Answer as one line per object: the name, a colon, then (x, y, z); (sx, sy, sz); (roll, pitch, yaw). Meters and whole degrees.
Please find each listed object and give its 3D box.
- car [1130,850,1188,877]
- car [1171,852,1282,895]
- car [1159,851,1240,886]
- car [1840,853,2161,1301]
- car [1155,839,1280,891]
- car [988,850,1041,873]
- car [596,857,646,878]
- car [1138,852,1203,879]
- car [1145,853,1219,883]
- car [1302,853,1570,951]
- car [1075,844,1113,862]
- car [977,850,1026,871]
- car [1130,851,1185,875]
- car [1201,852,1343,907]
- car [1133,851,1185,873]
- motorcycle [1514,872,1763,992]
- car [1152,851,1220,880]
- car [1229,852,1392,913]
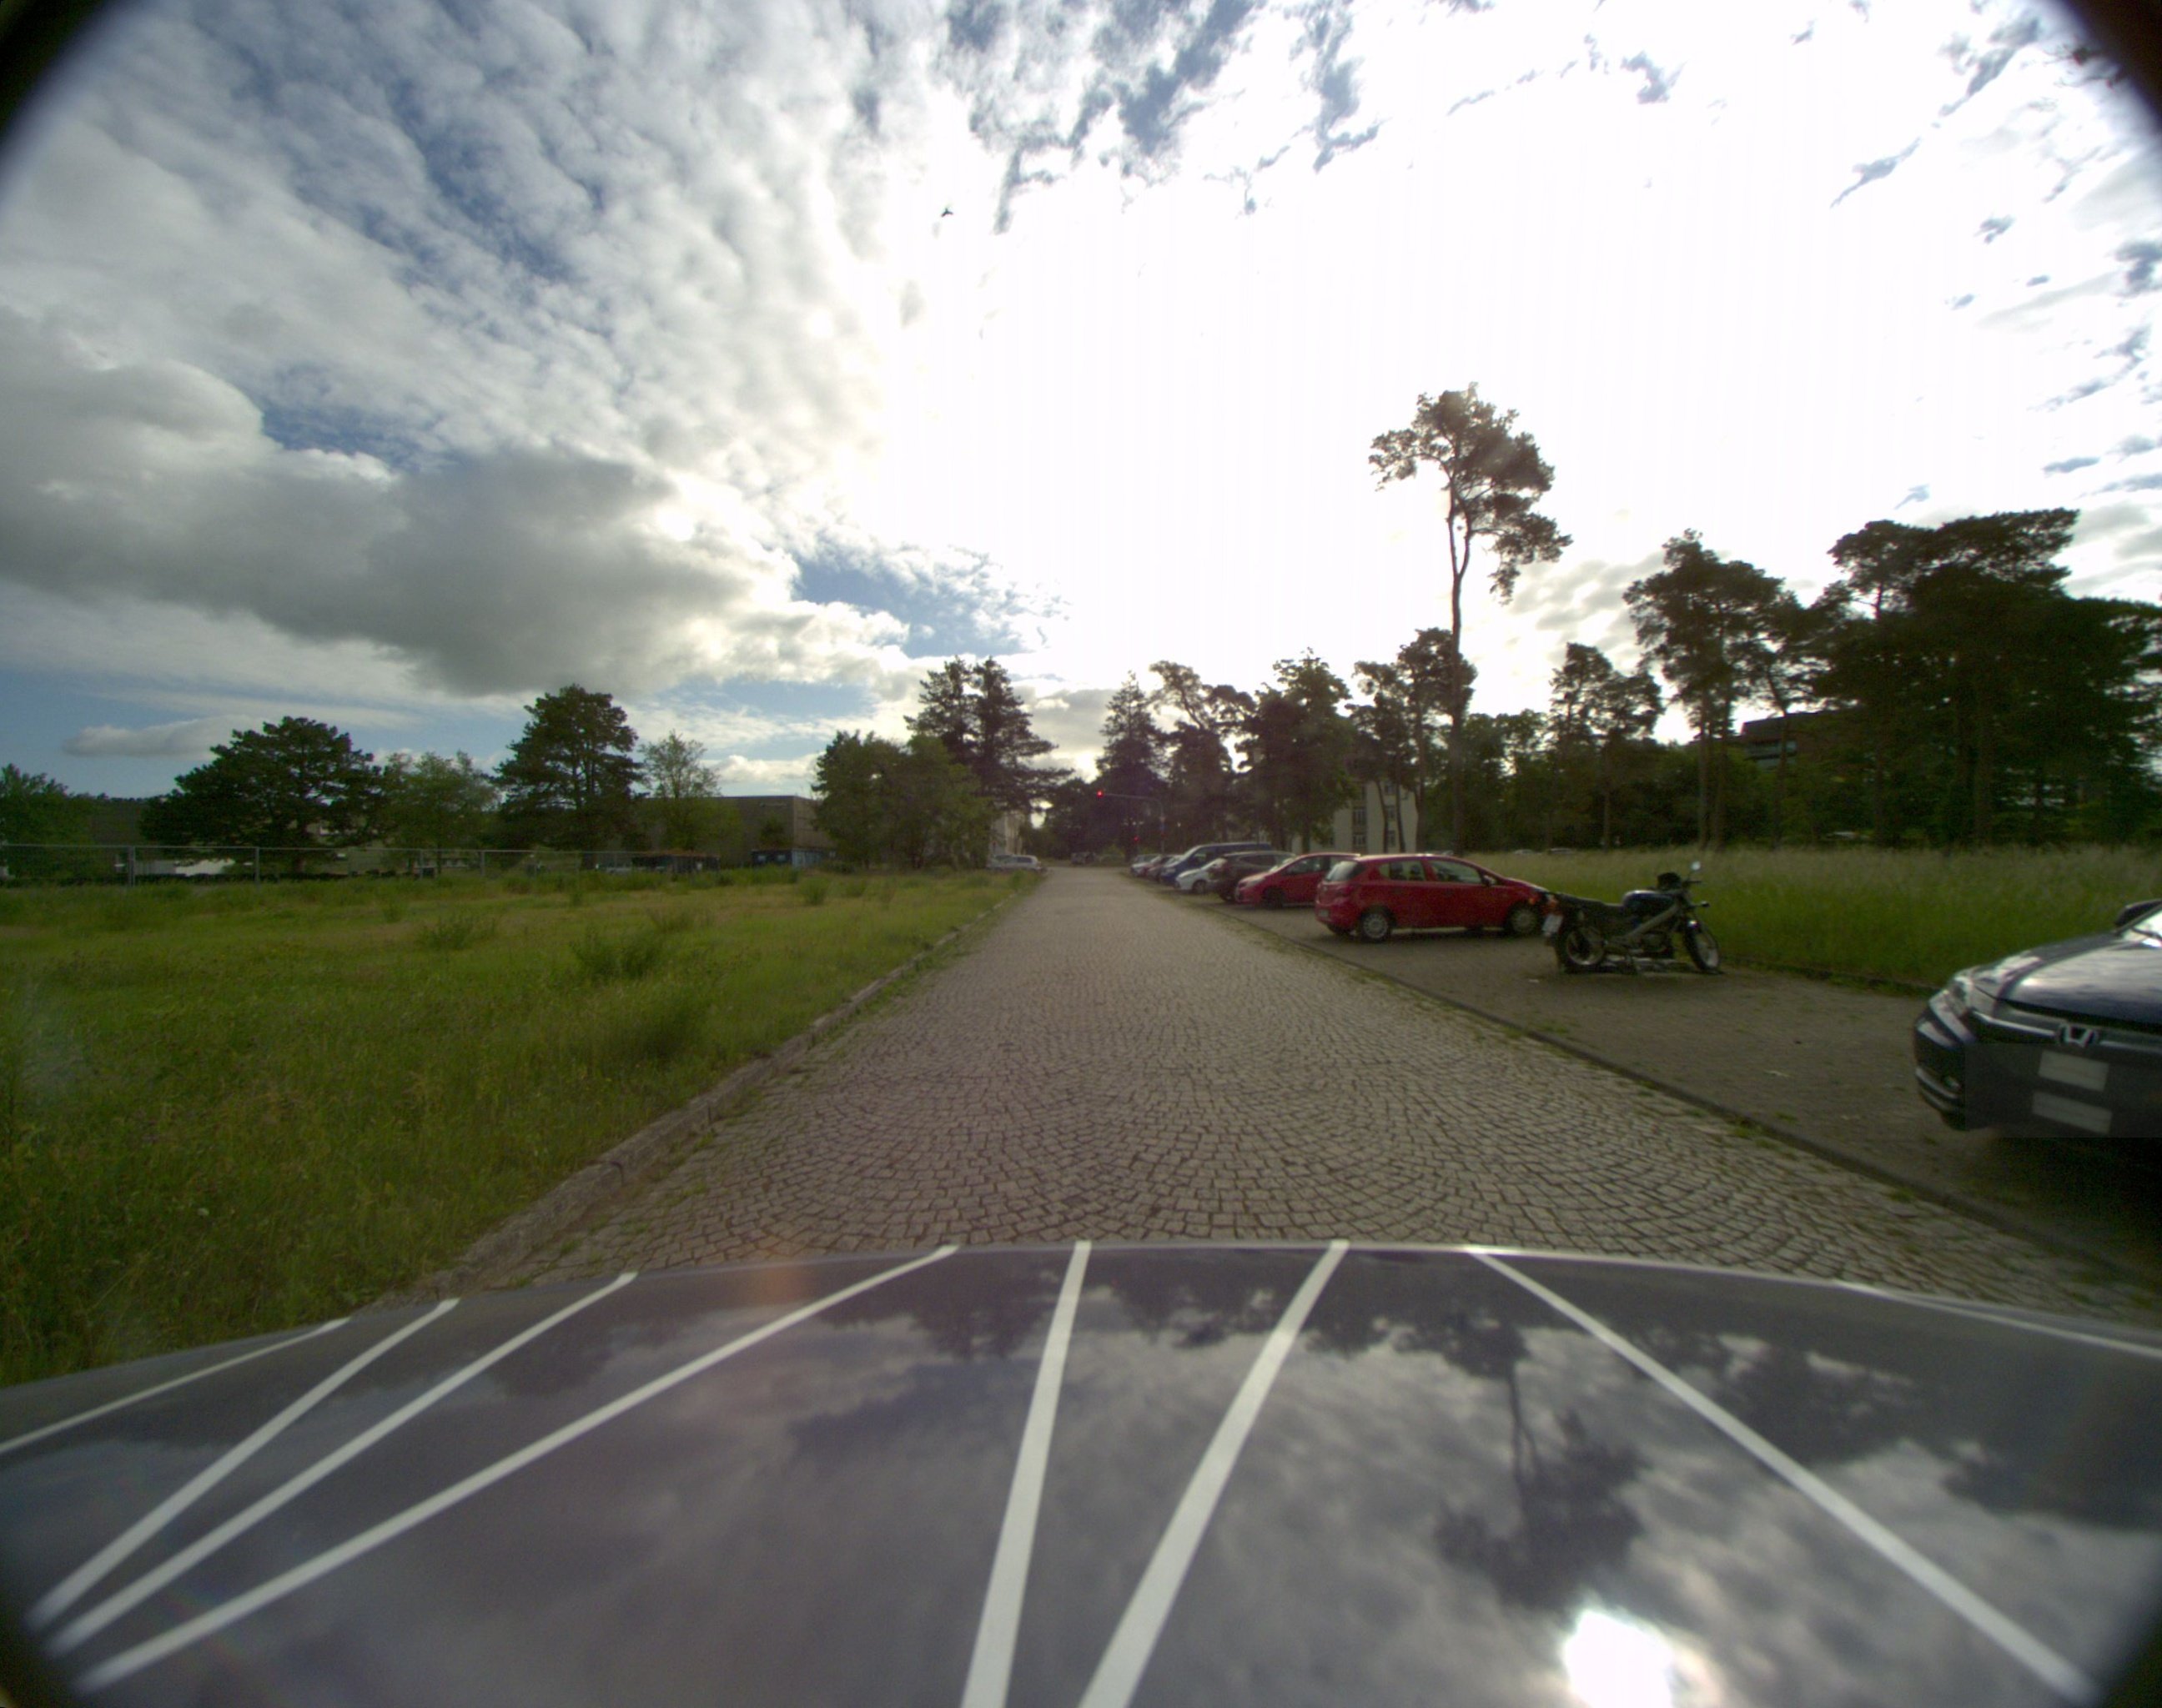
car: (5.213, 0.615, 50.979); (3.573, 1.479, 1.601); (-4, 2, -8)
car: (5.693, 0.735, 30.013); (3.930, 1.385, 1.742); (-4, 2, -2)
car: (5.924, 0.693, 38.161); (3.600, 1.446, 1.686); (-4, 2, -8)
car: (5.970, 0.786, 3.035); (4.149, 1.564, 1.789); (-1, 2, -2)
car: (5.790, 0.441, 32.684); (4.833, 1.855, 2.161); (-4, 2, -2)
car: (-4.837, 0.545, 55.218); (3.730, 1.430, 1.625); (-3, 2, -4)
car: (-43.554, 1.295, 71.939); (3.779, 1.892, 1.995); (0, -1, -41)
car: (5.457, 0.686, 46.586); (3.573, 1.408, 1.637); (-4, 2, -8)
car: (5.399, 0.735, 40.855); (3.600, 1.413, 1.617); (-3, 1, -8)
car: (6.089, 0.786, 13.315); (3.894, 1.470, 1.671); (-2, 1, -1)
car: (2.042, -0.209, 123.275); (5.797, 2.548, 2.768); (-4, 2, -6)
car: (-6.335, 0.498, 60.620); (3.731, 1.430, 1.625); (-3, 1, -8)
car: (5.378, 0.620, 53.766); (3.571, 1.450, 1.626); (-4, 2, -3)
car: (5.877, 0.764, 23.648); (3.917, 1.594, 1.820); (-1, 0, -3)
car: (5.795, 0.574, 56.473); (3.455, 1.424, 1.626); (-4, 2, -10)
motorcycle: (6.495, 0.885, 8.929); (2.361, 1.280, 0.743); (-1, 1, 0)
car: (6.044, 0.634, 43.902); (3.573, 1.426, 1.605); (-4, 2, -8)
car: (6.234, 0.761, 20.943); (3.951, 1.511, 1.707); (-1, 0, 0)
